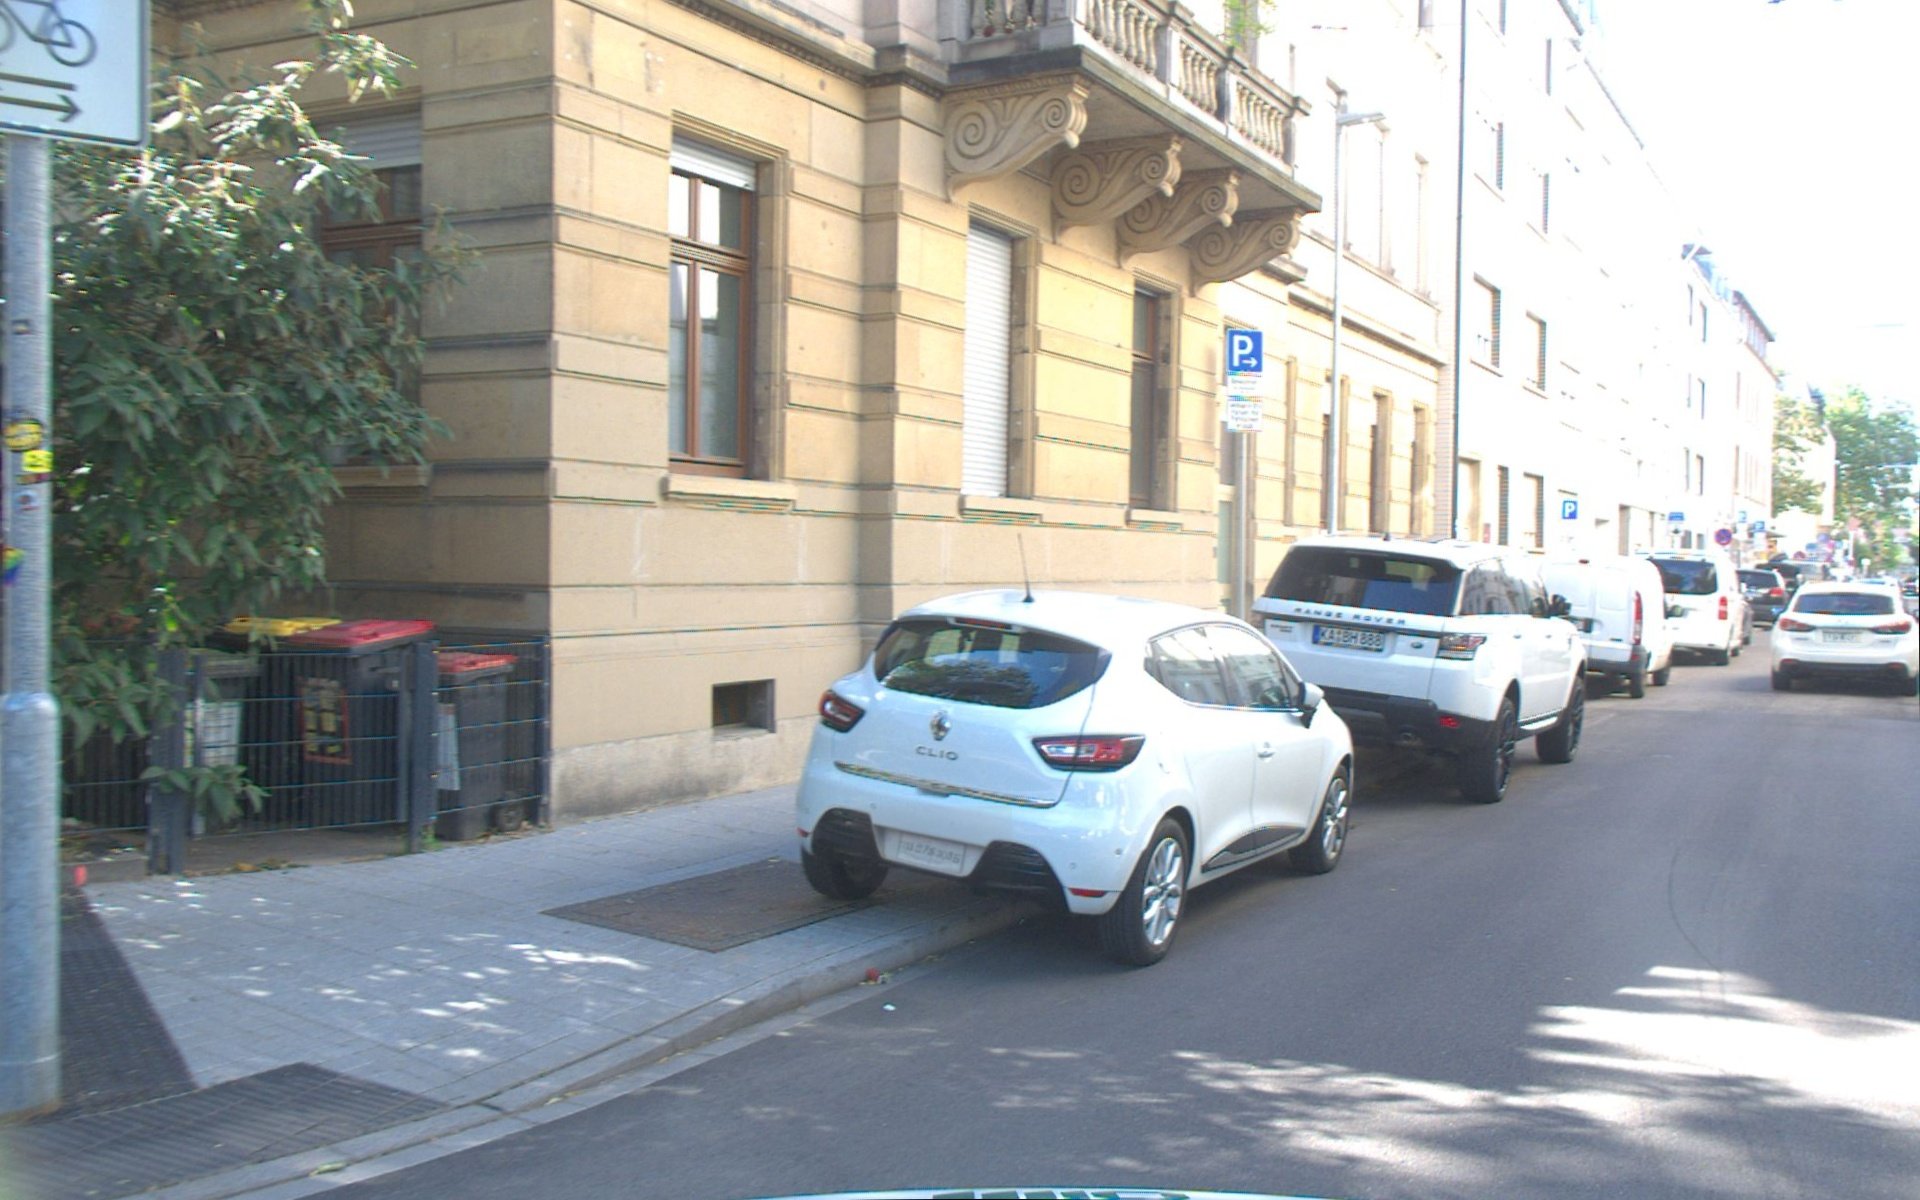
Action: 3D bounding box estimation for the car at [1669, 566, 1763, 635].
[{"bbox_3d":[17.795,-0.024,38.821,1.674,1.475,4.295,2,2,29],"label":"car"}]

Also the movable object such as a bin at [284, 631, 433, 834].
[{"bbox_3d":[-3.155,0.675,8.688,0.536,0.987,0.520,1,1,29],"label":"movable object such as a bin"}]

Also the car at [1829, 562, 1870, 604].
[{"bbox_3d":[41.467,-0.795,77.139,1.615,1.900,3.995,1,1,27],"label":"car"}]

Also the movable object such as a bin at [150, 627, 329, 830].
[{"bbox_3d":[-3.802,0.655,8.746,0.536,0.987,0.688,1,1,29],"label":"movable object such as a bin"}]

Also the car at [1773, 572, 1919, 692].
[{"bbox_3d":[12.682,0.388,23.372,1.800,1.512,4.048,-1,1,31],"label":"car"}]

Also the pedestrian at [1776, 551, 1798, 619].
[{"bbox_3d":[27.628,-0.503,55.268,0.607,2.268,0.686,1,-1,30],"label":"pedestrian"}]

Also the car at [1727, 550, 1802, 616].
[{"bbox_3d":[24.152,-0.544,49.630,1.843,1.785,4.538,5,3,26],"label":"car"}]

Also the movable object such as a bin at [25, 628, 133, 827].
[{"bbox_3d":[-4.569,0.648,8.580,0.374,0.987,0.344,1,1,29],"label":"movable object such as a bin"}]

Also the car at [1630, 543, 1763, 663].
[{"bbox_3d":[13.812,-0.021,30.881,1.858,1.992,4.775,3,3,28],"label":"car"}]

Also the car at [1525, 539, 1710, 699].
[{"bbox_3d":[9.247,0.181,23.089,1.713,1.908,4.082,5,4,30],"label":"car"}]

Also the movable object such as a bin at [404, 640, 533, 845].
[{"bbox_3d":[-2.535,0.718,8.551,0.389,0.987,0.520,1,1,29],"label":"movable object such as a bin"}]

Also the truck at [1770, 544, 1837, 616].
[{"bbox_3d":[32.504,-0.710,63.833,2.114,2.635,6.244,1,0,26],"label":"truck"}]

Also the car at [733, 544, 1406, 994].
[{"bbox_3d":[0.805,0.604,8.256,1.832,1.588,3.936,3,2,28],"label":"car"}]

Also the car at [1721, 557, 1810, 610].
[{"bbox_3d":[28.197,-0.606,57.783,2.396,1.735,5.232,2,2,30],"label":"car"}]

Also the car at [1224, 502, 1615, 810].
[{"bbox_3d":[3.915,0.329,13.484,1.984,2.048,4.534,1,1,30],"label":"car"}]
